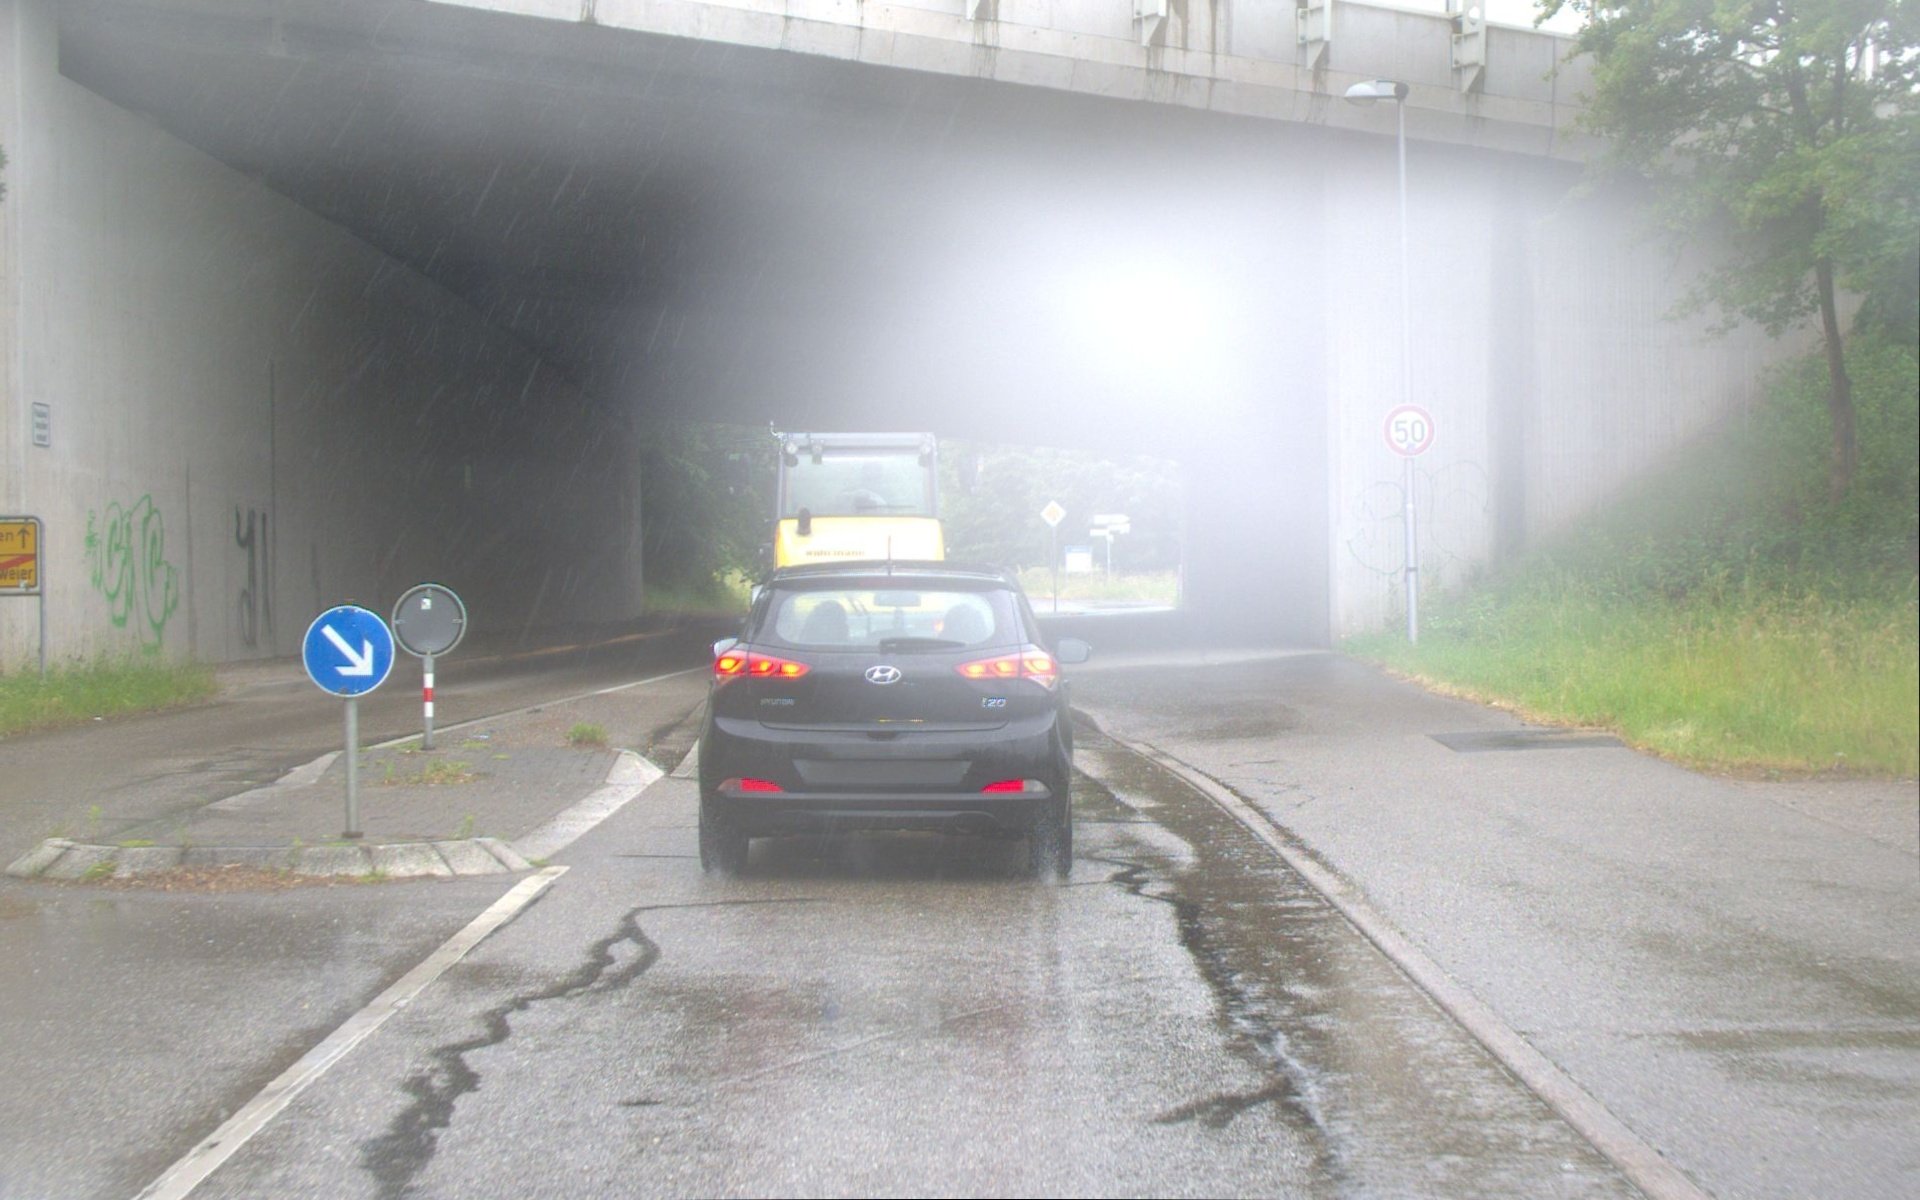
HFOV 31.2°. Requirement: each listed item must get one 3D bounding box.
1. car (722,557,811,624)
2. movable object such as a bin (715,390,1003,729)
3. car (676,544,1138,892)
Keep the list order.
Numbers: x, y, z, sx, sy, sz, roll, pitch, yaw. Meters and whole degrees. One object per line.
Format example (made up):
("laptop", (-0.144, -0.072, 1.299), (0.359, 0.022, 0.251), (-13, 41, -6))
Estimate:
("car", (-4.431, -0.240, 79.182), (1.690, 1.482, 4.072), (0, 1, 2))
("movable object such as a bin", (-0.905, -0.353, 30.798), (2.245, 2.660, 6.627), (1, 0, -2))
("car", (-0.289, 0.499, 17.046), (1.993, 1.482, 4.000), (1, 0, -2))
